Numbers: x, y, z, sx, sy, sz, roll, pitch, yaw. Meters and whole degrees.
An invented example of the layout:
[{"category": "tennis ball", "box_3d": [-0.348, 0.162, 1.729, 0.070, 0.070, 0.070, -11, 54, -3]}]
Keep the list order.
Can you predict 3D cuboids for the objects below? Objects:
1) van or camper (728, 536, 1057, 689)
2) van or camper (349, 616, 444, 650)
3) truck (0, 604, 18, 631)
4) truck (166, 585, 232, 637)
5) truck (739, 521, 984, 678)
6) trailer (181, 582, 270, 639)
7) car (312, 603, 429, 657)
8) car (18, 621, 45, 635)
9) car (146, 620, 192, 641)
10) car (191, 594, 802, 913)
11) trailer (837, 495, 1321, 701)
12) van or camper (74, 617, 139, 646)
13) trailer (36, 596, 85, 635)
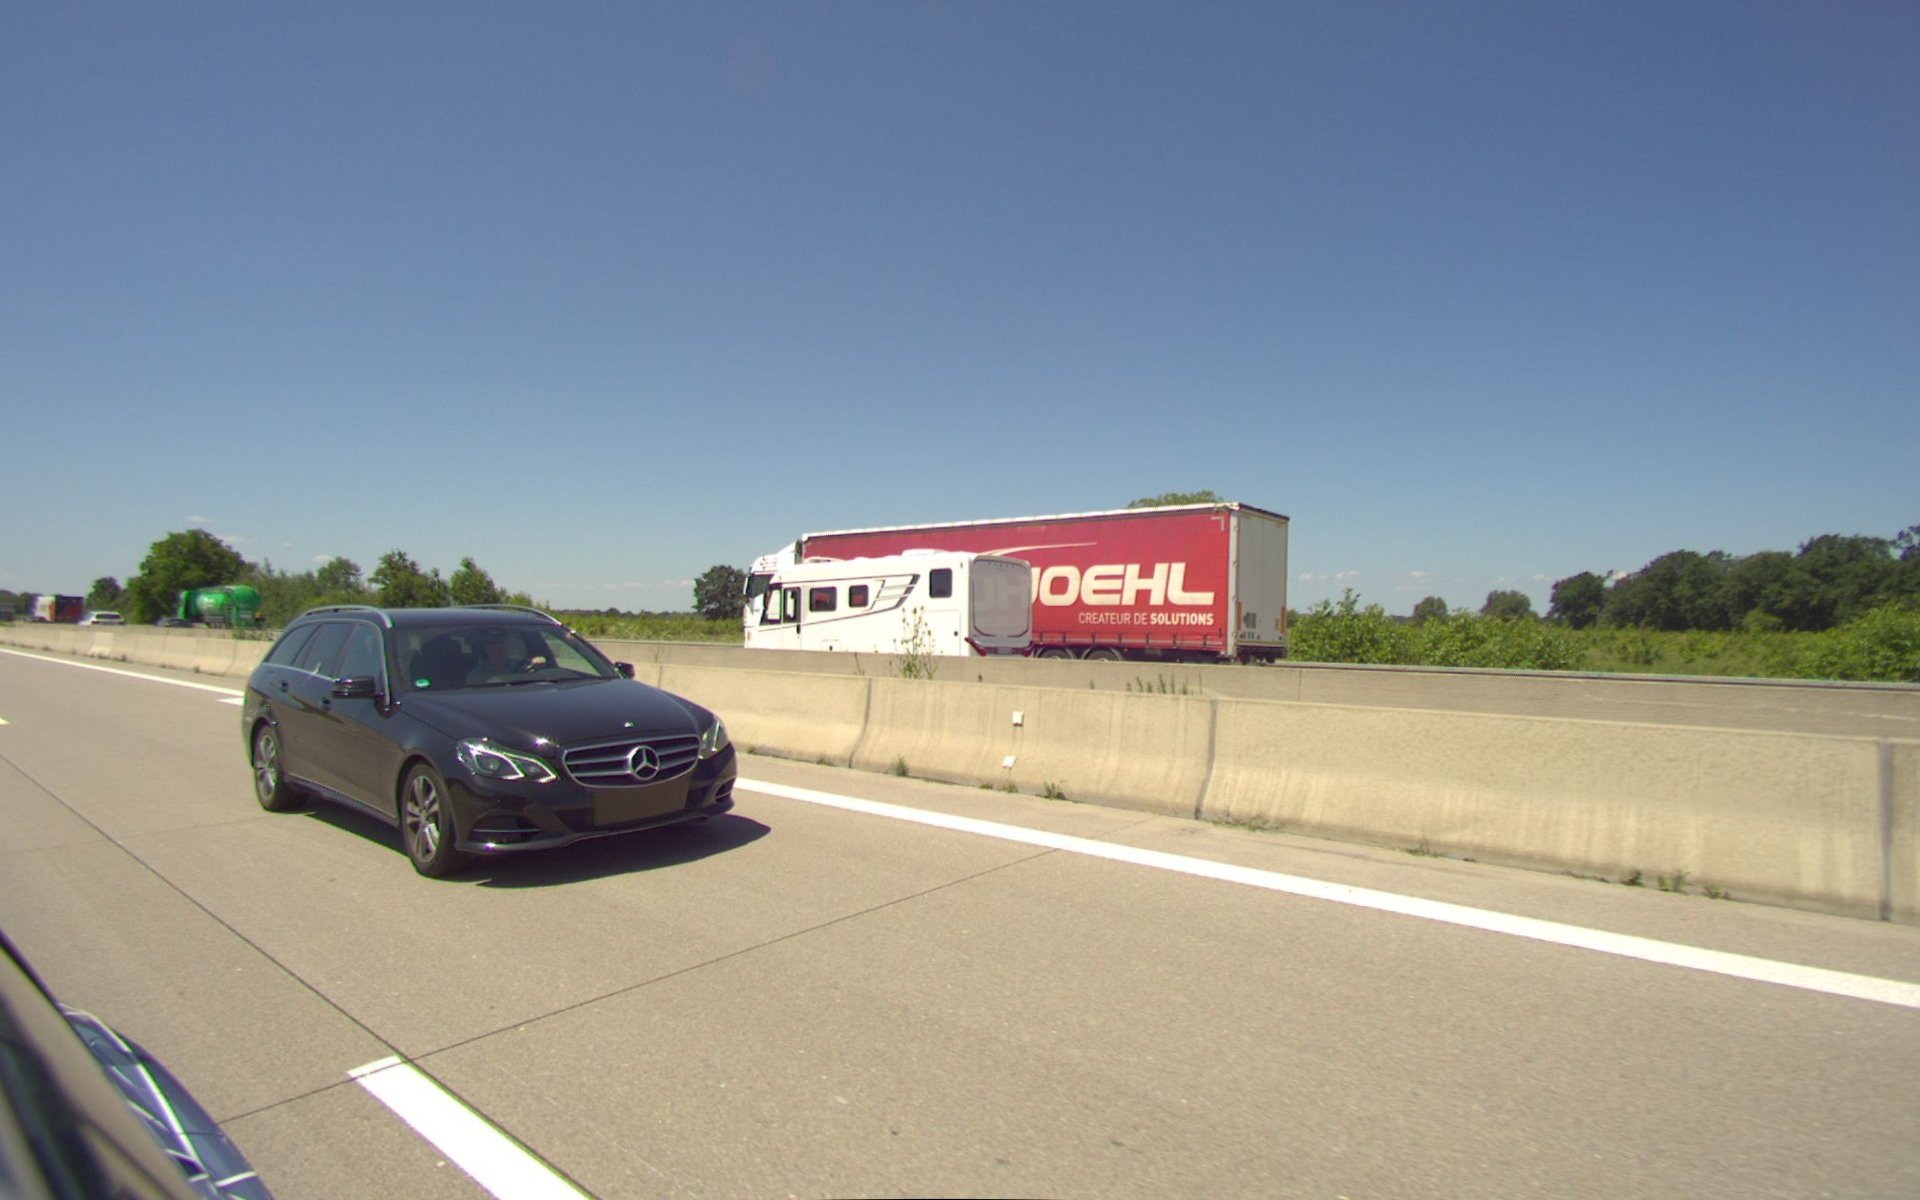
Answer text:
[{"category": "van or camper", "box_3d": [-1.780, 0.320, 22.782, 7.931, 2.912, 2.500, -1, -2, 40]}, {"category": "van or camper", "box_3d": [-29.444, 1.698, 52.760, 6.087, 1.634, 2.341, -1, -2, 40]}, {"category": "truck", "box_3d": [-151.064, 2.757, 159.372, 8.124, 4.206, 3.198, -1, -2, 41]}, {"category": "truck", "box_3d": [-59.251, 0.881, 78.723, 6.198, 3.912, 2.716, -1, -2, 40]}, {"category": "truck", "box_3d": [-3.020, 0.075, 29.485, 7.291, 4.013, 2.968, -1, -2, 41]}, {"category": "trailer", "box_3d": [-54.136, 0.831, 74.411, 11.097, 3.907, 2.707, -1, -2, 40]}, {"category": "car", "box_3d": [-18.396, 0.927, 31.511, 4.599, 1.567, 1.775, -1, -2, 41]}, {"category": "car", "box_3d": [-99.604, 3.003, 108.535, 4.544, 1.411, 1.607, -1, -2, 41]}, {"category": "car", "box_3d": [-52.301, 2.007, 66.916, 3.998, 1.343, 1.678, -1, -2, 41]}, {"category": "car", "box_3d": [-3.673, 0.771, 7.284, 5.600, 1.484, 1.871, -1, -2, 41]}, {"category": "trailer", "box_3d": [2.207, 0.086, 24.892, 12.335, 4.013, 2.968, -1, -2, 41]}, {"category": "van or camper", "box_3d": [-52.751, 1.926, 62.513, 5.847, 1.705, 2.218, -1, -2, 41]}, {"category": "trailer", "box_3d": [-108.993, 1.909, 122.555, 13.228, 4.572, 2.773, -1, -2, 41]}]
